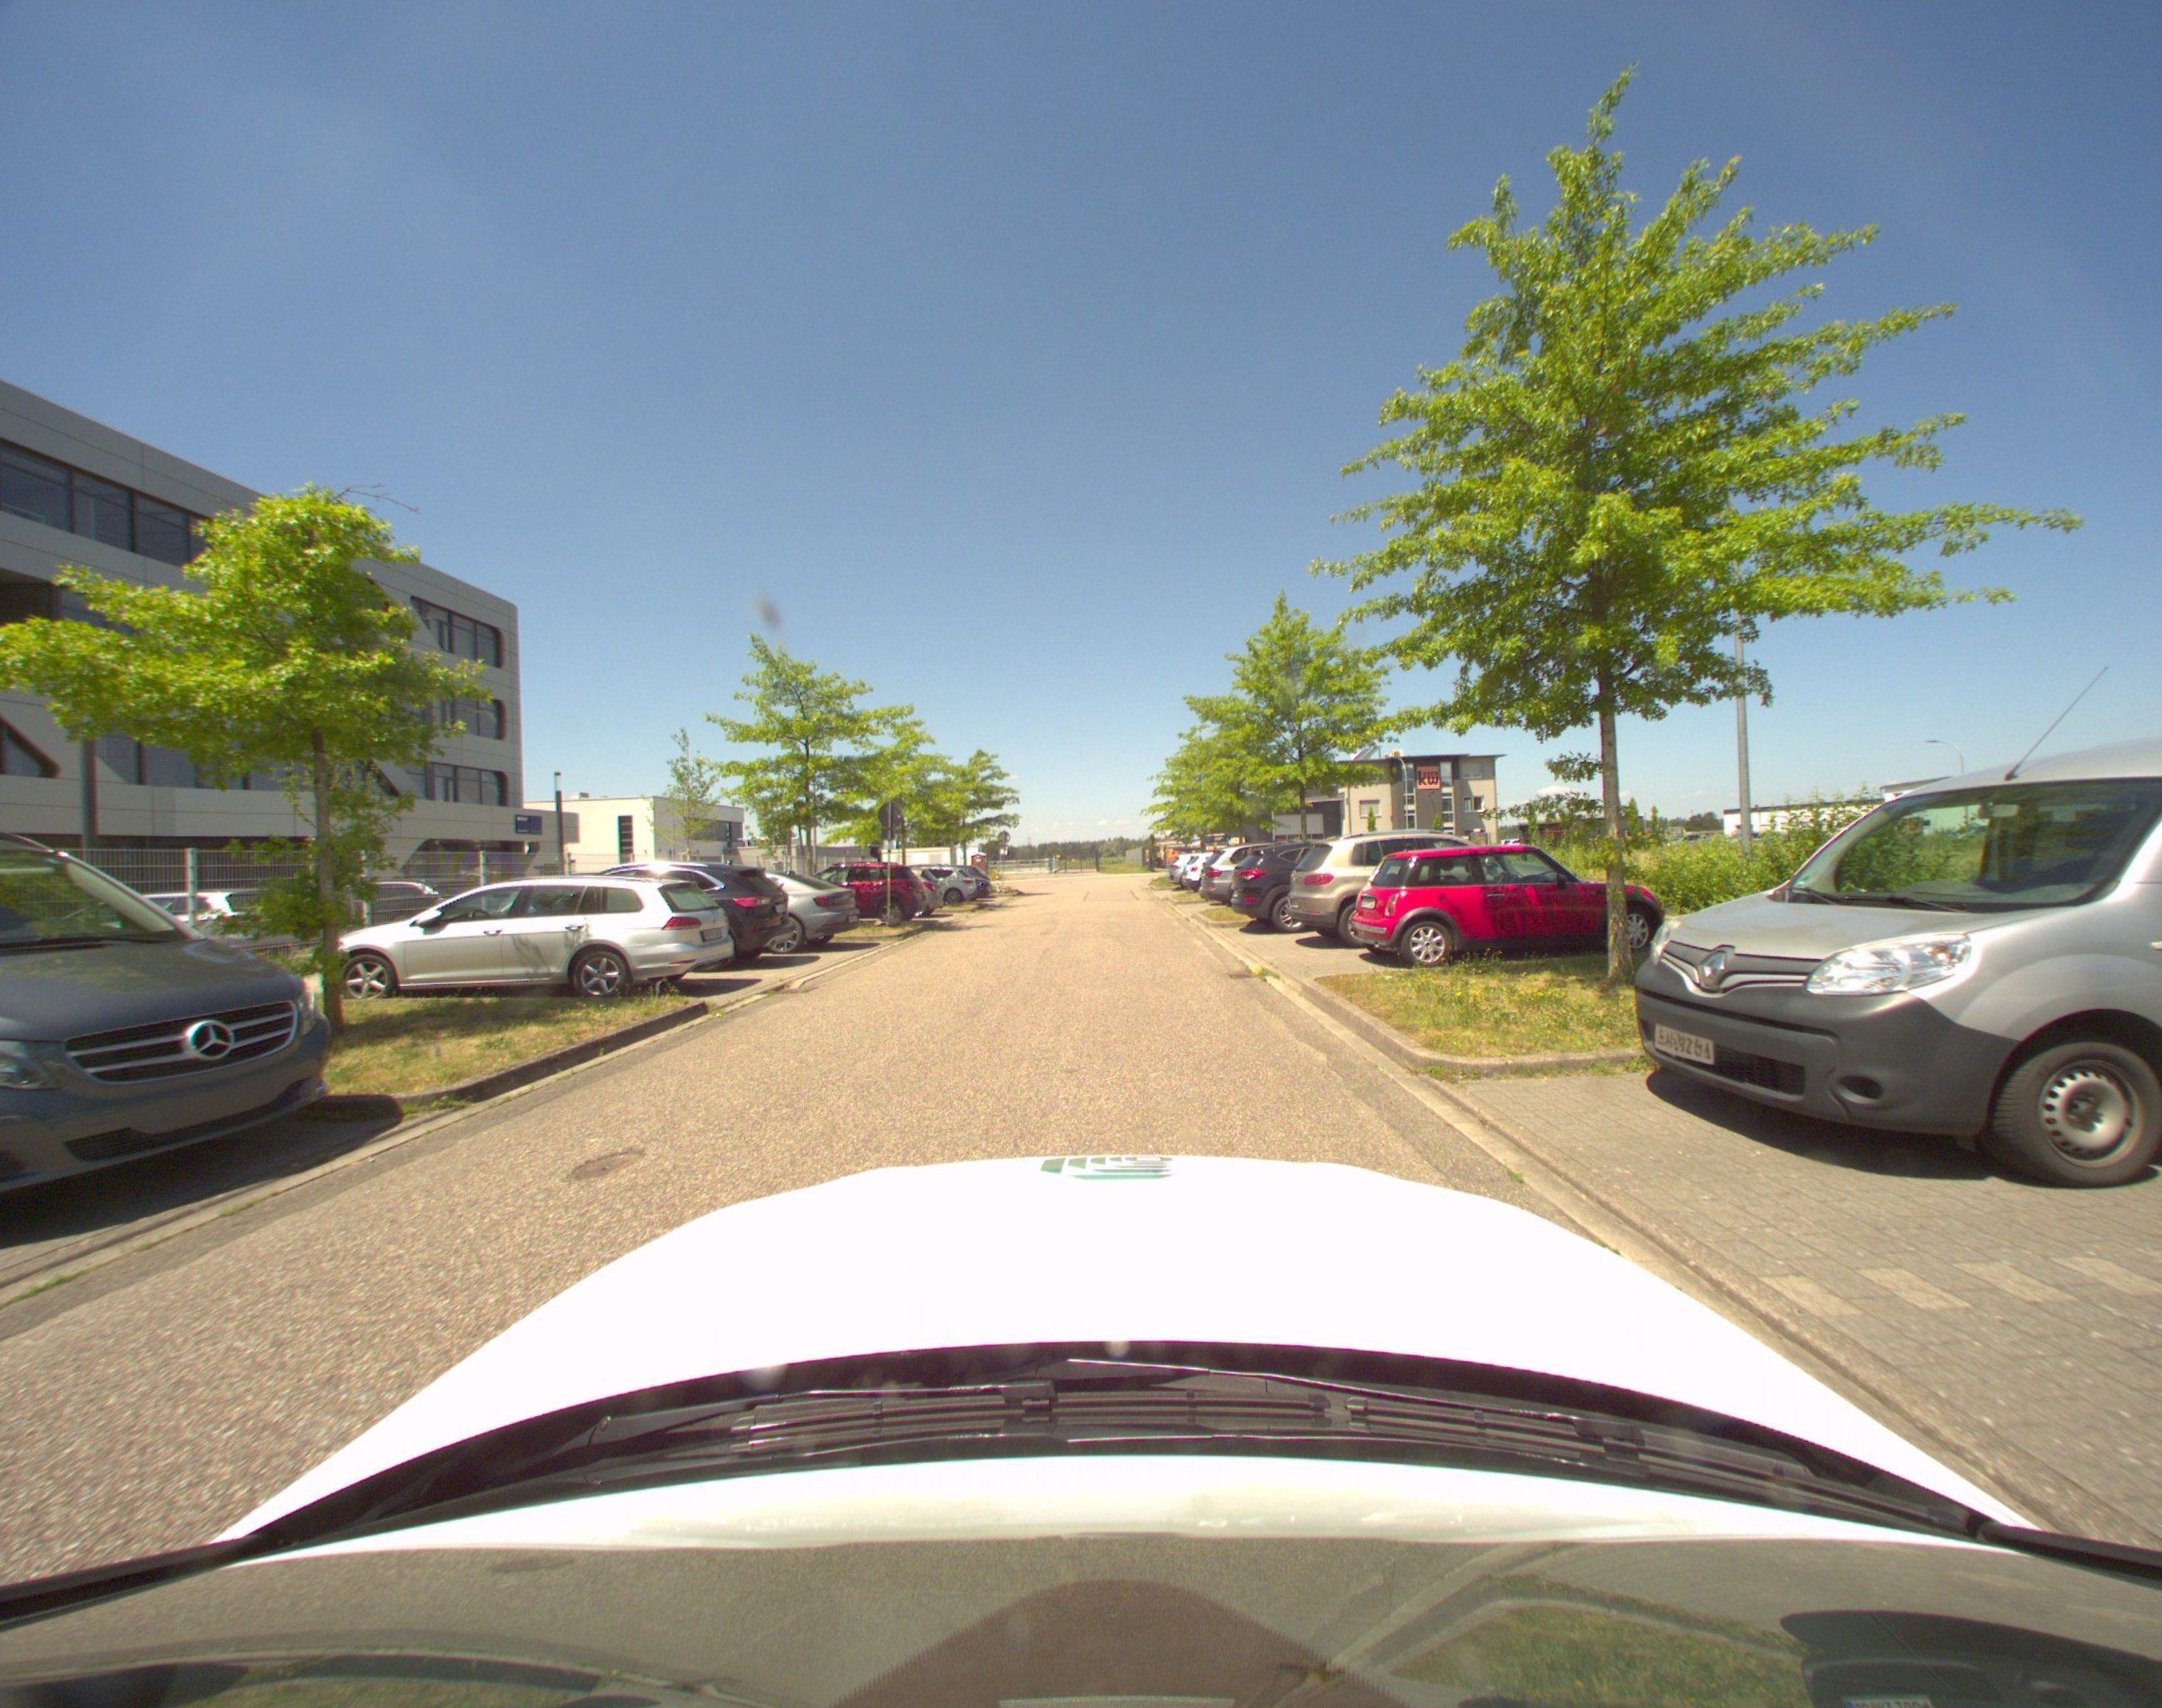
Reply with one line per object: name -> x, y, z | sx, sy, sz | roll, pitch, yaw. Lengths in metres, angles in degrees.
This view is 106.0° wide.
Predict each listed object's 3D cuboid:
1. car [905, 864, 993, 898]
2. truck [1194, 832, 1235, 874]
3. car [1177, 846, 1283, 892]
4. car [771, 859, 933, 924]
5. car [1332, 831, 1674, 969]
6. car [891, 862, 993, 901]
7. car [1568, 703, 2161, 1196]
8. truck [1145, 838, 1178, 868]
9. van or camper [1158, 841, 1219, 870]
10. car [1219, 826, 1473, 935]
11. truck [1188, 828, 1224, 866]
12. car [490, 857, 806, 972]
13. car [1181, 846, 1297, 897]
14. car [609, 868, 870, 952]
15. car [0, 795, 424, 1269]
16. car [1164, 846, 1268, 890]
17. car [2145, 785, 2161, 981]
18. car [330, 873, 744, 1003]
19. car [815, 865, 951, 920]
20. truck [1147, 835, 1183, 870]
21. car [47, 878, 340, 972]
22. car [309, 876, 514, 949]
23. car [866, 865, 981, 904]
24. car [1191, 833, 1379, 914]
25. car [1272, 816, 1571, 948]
car -> -5.759, 1.188, 35.937 | 3.615, 1.436, 1.725 | 0, -1, -2
truck -> 13.245, -0.102, 81.386 | 2.911, 3.929, 6.937 | -2, 0, 1
car -> 6.086, 0.604, 33.553 | 3.973, 1.644, 1.838 | -3, -1, 0
car -> -6.000, 0.972, 21.652 | 3.723, 1.621, 1.817 | -1, -1, 2
car -> 5.257, 0.546, 10.512 | 3.445, 1.417, 1.755 | -4, -1, 1
car -> -5.671, 1.110, 33.575 | 3.916, 1.520, 1.784 | 0, -1, -2
car -> 5.178, 0.276, 3.996 | 4.385, 1.830, 1.797 | -4, -1, 2
truck -> 8.565, -0.084, 87.367 | 2.911, 2.938, 6.937 | -2, 0, 1
van or camper -> 9.144, 0.116, 69.373 | 4.919, 2.163, 2.000 | -2, 1, 0
car -> 4.888, 0.478, 15.454 | 4.159, 1.696, 1.782 | -4, -1, 0
truck -> 13.791, -0.735, 90.610 | 2.911, 3.929, 6.937 | -2, 0, 1
car -> -6.641, 0.890, 12.869 | 3.978, 1.678, 1.775 | 0, -1, -4
car -> 5.950, 0.664, 31.058 | 4.052, 1.608, 1.902 | -4, -1, 2
car -> -6.323, 1.014, 15.403 | 4.177, 1.480, 1.713 | 0, -1, 2
car -> -6.784, 0.745, 4.310 | 5.049, 1.892, 1.998 | -1, 0, 3
car -> 5.910, 0.606, 36.087 | 4.263, 1.644, 1.851 | -4, -1, 1
car -> 4.745, 0.435, 1.338 | 3.617, 1.503, 1.677 | -4, -1, 2
car -> -6.573, 0.979, 10.178 | 4.026, 1.461, 1.603 | 0, -1, -2
car -> -5.820, 1.119, 24.263 | 3.647, 1.508, 1.730 | 0, -1, -2
truck -> 7.995, -0.135, 78.301 | 2.717, 3.061, 6.937 | -2, 0, 1
car -> -16.089, 1.255, 14.901 | 3.467, 1.390, 1.678 | -3, 0, 0
car -> -15.993, 1.370, 19.581 | 3.467, 1.390, 1.678 | -4, 0, 0
car -> -5.947, 1.154, 31.154 | 4.065, 1.424, 1.872 | 0, -1, -2
car -> 5.349, 0.503, 21.759 | 4.436, 1.768, 1.992 | -4, 0, -1
car -> 5.152, 0.412, 12.741 | 3.861, 1.678, 1.783 | -4, -1, 1
